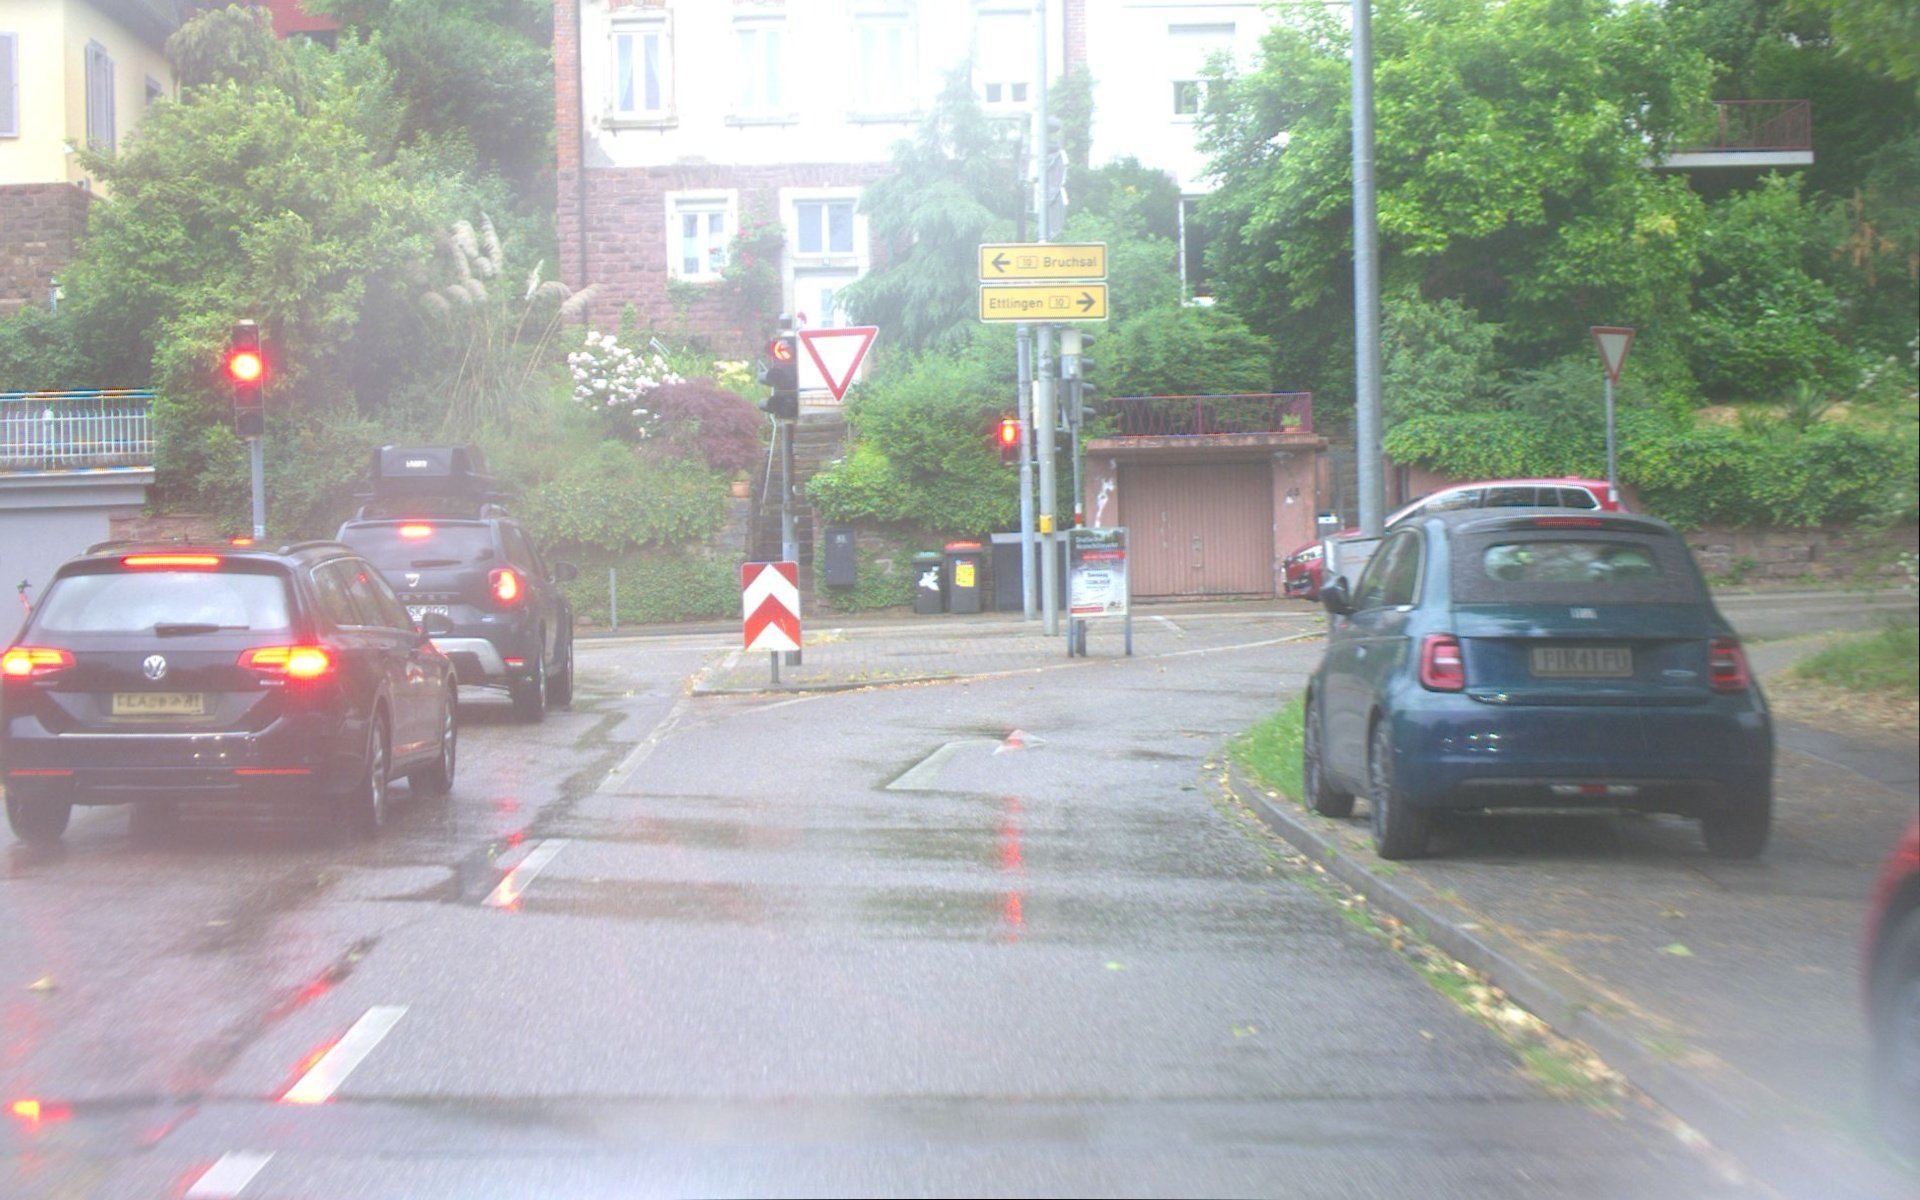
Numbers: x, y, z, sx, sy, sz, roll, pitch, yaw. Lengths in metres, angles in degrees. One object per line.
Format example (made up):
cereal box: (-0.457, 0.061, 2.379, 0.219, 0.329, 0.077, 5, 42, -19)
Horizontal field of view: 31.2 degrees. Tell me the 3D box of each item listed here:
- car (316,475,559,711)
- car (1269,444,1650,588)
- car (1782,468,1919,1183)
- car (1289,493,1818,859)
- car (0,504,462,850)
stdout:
car: (-4.137, -0.137, 27.559, 1.760, 1.705, 4.602, 0, 2, -7)
car: (6.348, -1.057, 44.026, 4.568, 1.595, 1.775, -3, 0, 1)
car: (3.073, 0.625, 6.453, 1.819, 1.512, 3.744, 6, 3, -4)
car: (2.630, 0.278, 16.043, 1.749, 1.486, 3.600, 1, 1, -1)
car: (-3.687, 0.285, 17.708, 1.831, 1.451, 4.660, 1, 2, -4)
